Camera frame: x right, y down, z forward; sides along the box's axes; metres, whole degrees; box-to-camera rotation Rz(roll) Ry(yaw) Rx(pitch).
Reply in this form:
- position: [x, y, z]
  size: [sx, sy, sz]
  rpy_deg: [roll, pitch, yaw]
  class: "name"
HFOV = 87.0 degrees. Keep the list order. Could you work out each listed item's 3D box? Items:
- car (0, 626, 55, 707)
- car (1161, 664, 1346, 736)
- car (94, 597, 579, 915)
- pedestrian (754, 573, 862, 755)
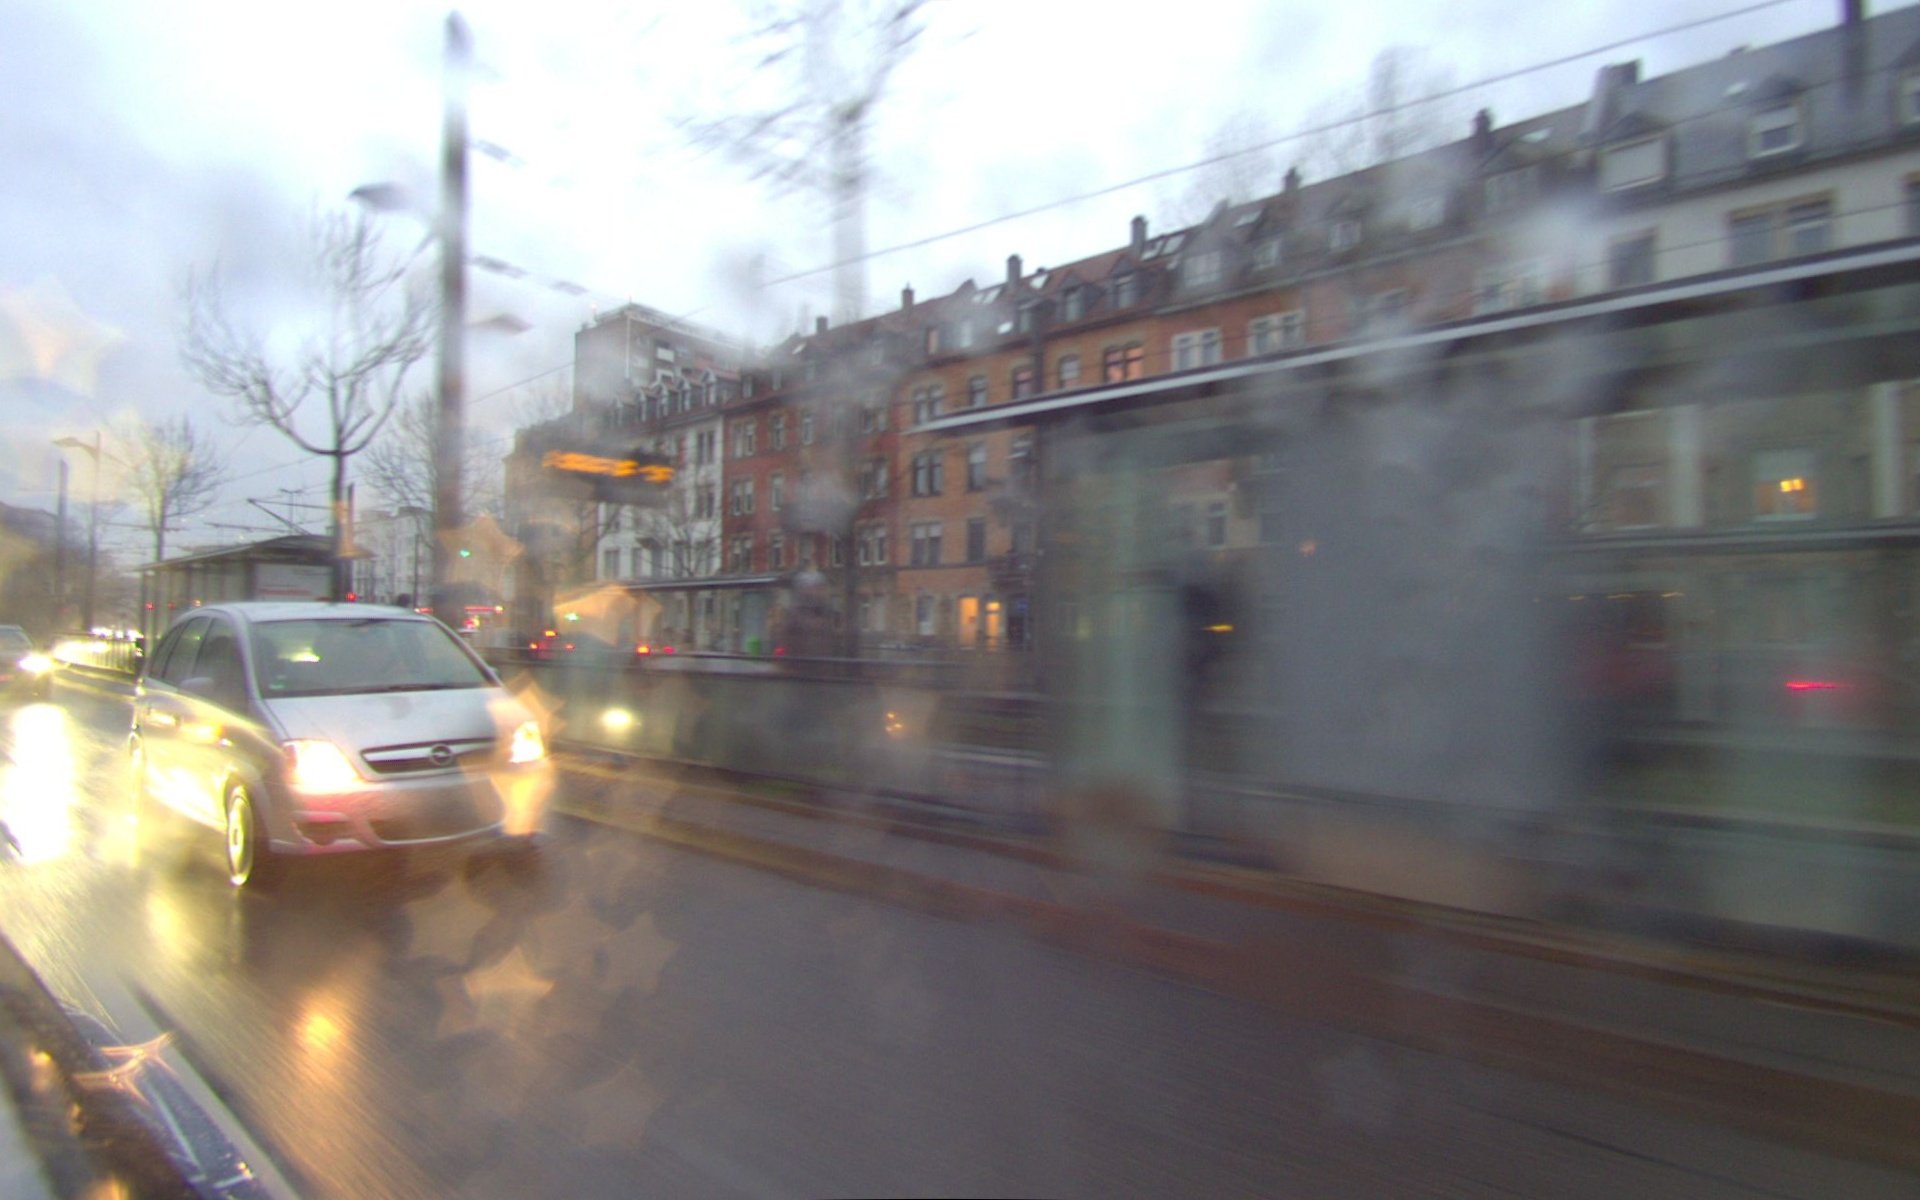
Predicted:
- position: [-19.965, 1.318, 20.643]
  size: [3.998, 1.556, 1.730]
  rpy_deg: [-2, -4, 42]
  class: "car"
- position: [7.305, 2.434, 25.397]
  size: [4.000, 1.564, 1.971]
  rpy_deg: [-2, -4, 43]
  class: "car"
- position: [-4.446, 0.838, 6.951]
  size: [4.106, 1.560, 1.628]
  rpy_deg: [-2, -3, 40]
  class: "car"
- position: [-1.432, 0.582, 9.556]
  size: [0.746, 1.618, 0.703]
  rpy_deg: [-1, -2, 40]
  class: "pedestrian"
